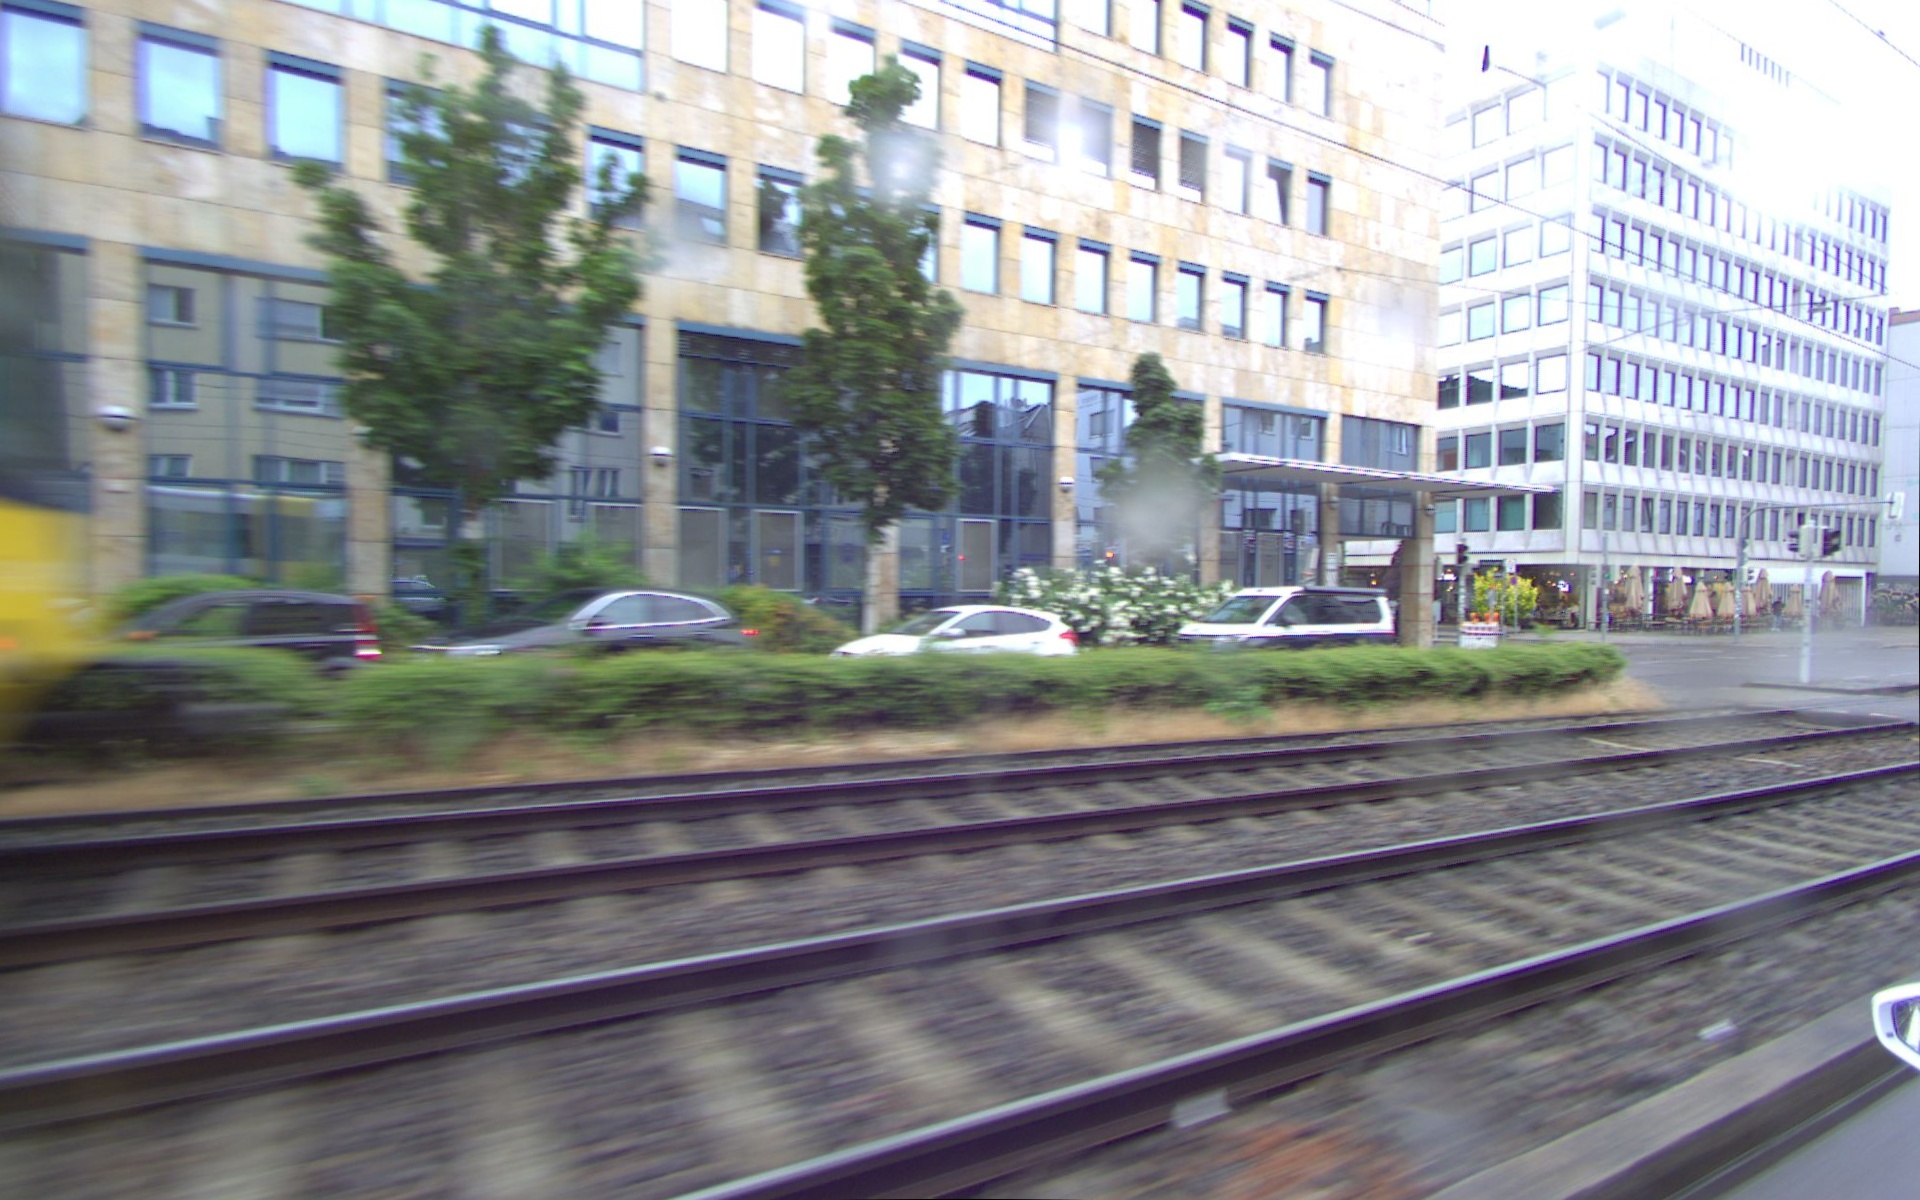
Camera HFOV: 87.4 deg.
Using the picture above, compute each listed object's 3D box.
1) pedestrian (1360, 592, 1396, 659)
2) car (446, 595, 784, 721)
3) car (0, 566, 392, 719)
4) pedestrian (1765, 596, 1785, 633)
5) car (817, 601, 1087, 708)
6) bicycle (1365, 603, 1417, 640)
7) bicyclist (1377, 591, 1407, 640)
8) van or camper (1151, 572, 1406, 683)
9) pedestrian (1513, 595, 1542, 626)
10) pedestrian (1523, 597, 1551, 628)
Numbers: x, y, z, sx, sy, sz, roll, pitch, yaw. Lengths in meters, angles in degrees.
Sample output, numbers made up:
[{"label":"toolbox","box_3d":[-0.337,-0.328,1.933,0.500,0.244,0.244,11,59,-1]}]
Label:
[{"label":"pedestrian","box_3d":[11.499,0.703,27.675,0.689,1.805,0.679,1,2,4]},{"label":"car","box_3d":[-4.782,0.710,14.133,4.249,1.506,1.679,0,2,-33]},{"label":"car","box_3d":[-8.775,0.409,11.442,3.955,1.506,1.679,0,2,-32]},{"label":"pedestrian","box_3d":[41.879,0.738,51.619,0.836,1.847,0.560,0,2,-35]},{"label":"car","box_3d":[-0.079,0.809,16.552,4.208,1.506,1.679,0,2,-32]},{"label":"bicycle","box_3d":[16.323,0.820,38.116,0.652,1.328,1.756,1,1,-29]},{"label":"bicyclist","box_3d":[16.348,0.583,38.015,0.775,1.829,0.705,0,2,-30]},{"label":"van or camper","box_3d":[6.563,0.559,20.531,5.137,2.024,2.007,2,1,-31]},{"label":"pedestrian","box_3d":[29.080,0.515,51.509,0.886,1.553,0.957,0,2,-30]},{"label":"pedestrian","box_3d":[29.904,0.657,52.056,0.954,1.553,0.889,0,2,-32]}]
